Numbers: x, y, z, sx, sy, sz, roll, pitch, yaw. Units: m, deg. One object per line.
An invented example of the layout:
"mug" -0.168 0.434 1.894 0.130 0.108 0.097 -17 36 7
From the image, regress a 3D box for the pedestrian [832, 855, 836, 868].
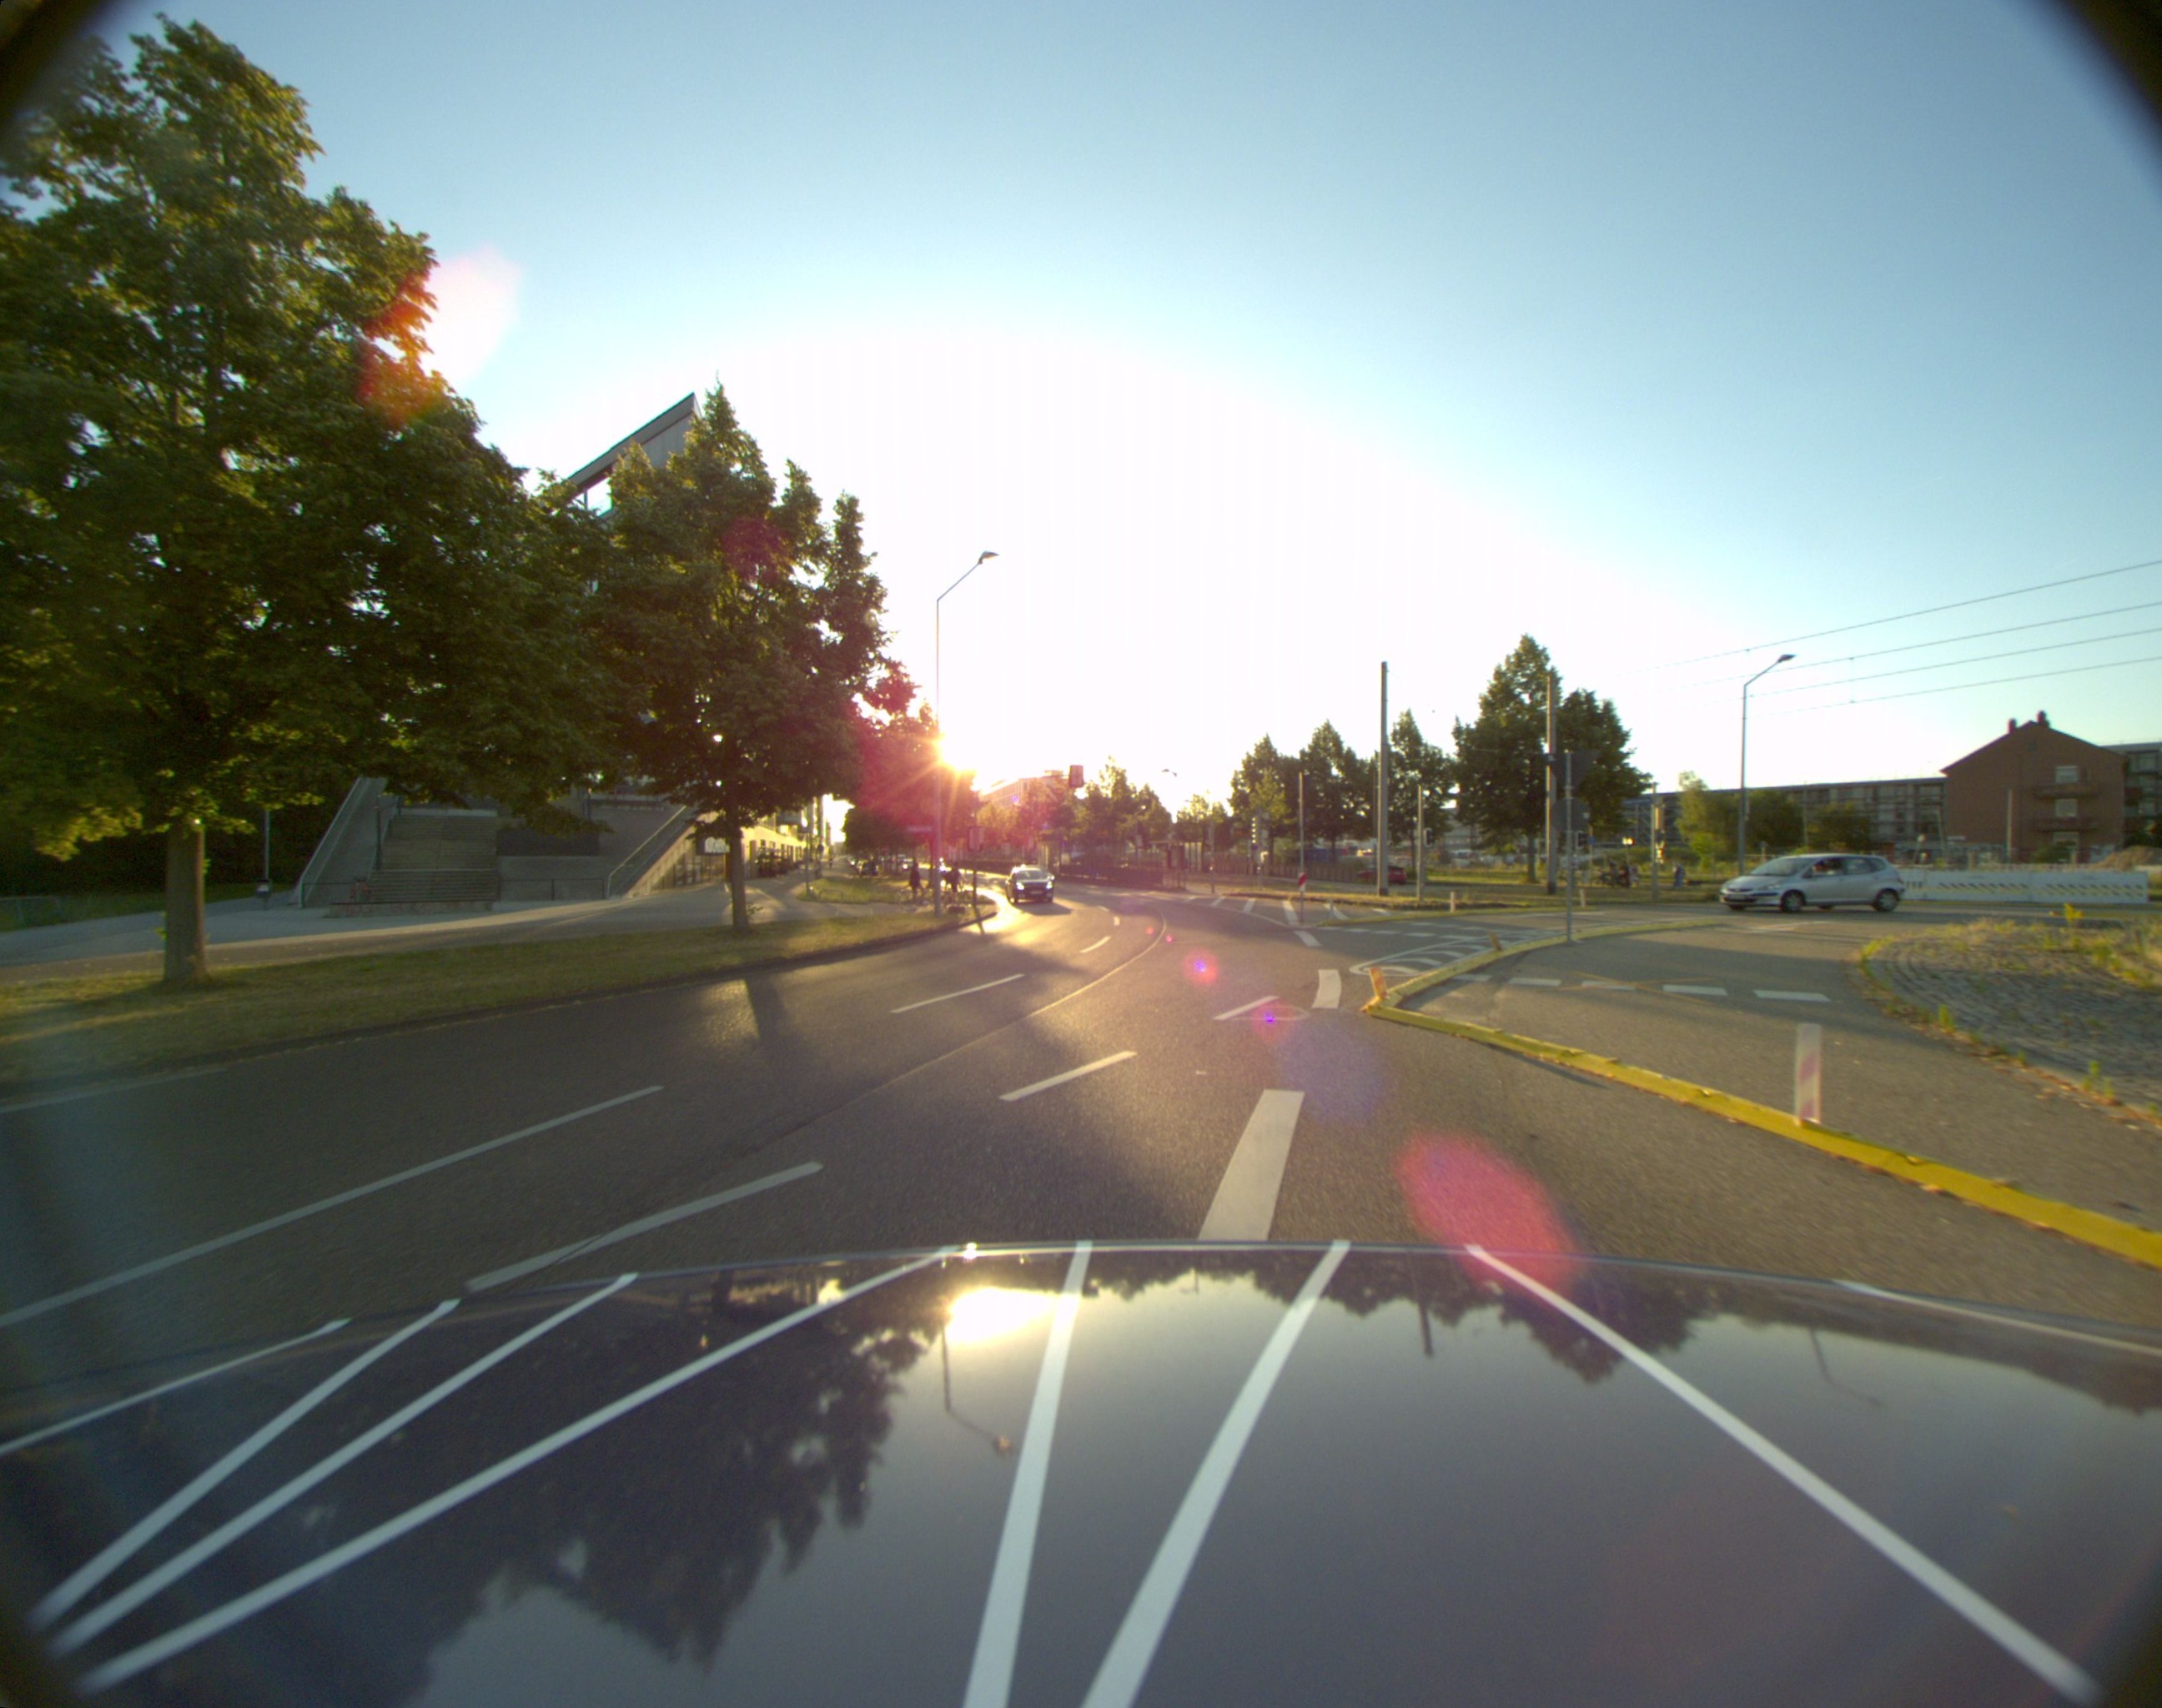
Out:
"pedestrian" -40.329 1.246 124.144 0.539 2.002 0.526 -1 0 -18

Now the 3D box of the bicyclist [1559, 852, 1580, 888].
"bicyclist" 26.514 0.875 41.248 0.678 1.907 0.614 -1 0 -14

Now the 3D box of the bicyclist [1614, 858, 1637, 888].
"bicyclist" 27.908 0.962 38.941 0.815 1.497 0.592 -1 0 -14

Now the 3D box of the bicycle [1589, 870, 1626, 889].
"bicycle" 27.689 1.350 39.964 1.844 0.975 0.549 -1 0 -14

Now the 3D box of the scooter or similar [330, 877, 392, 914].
"scooter or similar" -24.152 1.381 25.495 1.577 1.213 0.366 -1 0 -7

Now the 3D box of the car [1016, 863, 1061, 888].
"car" -2.718 1.314 47.873 1.804 1.414 4.442 -1 0 -17

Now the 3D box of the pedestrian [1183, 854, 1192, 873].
"pedestrian" 9.285 0.849 66.225 0.709 1.623 0.445 -1 0 -19

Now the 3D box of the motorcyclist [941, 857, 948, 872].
"motorcyclist" -12.677 0.993 70.510 0.636 1.408 0.714 -1 1 -8

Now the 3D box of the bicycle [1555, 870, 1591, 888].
"bicycle" 26.731 1.351 41.300 1.844 0.975 0.549 -1 0 -14

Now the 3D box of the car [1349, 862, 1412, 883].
"car" 19.672 1.184 50.065 1.835 1.324 3.995 -1 0 -15

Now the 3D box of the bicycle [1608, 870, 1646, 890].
"bicycle" 27.995 1.323 38.957 1.844 0.975 0.536 -1 0 -14

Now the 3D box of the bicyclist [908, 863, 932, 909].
"bicyclist" -5.832 1.157 27.518 0.685 1.638 0.682 -1 0 -27

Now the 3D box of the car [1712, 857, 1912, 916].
"car" 19.126 0.825 19.990 3.708 1.457 1.607 -1 0 0

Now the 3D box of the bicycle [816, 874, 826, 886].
"bicycle" -20.098 2.026 58.680 0.550 0.846 2.641 -1 0 -15

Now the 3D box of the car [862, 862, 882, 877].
"car" -21.406 1.558 77.886 1.804 1.455 3.994 -1 0 -17

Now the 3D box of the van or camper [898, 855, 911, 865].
"van or camper" -34.620 1.185 149.321 2.002 1.946 5.320 -1 1 -18

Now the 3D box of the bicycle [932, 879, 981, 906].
"bicycle" -4.879 1.505 29.815 1.863 1.016 0.437 -1 0 -10

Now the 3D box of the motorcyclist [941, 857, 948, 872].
"motorcyclist" -12.762 0.980 71.171 0.636 1.400 0.594 -1 1 -8

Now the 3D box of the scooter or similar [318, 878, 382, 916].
"scooter or similar" -24.105 1.404 25.068 1.577 1.213 0.366 -1 0 -7

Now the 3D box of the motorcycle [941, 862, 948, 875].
"motorcycle" -12.716 1.341 70.840 0.558 1.094 2.158 -2 1 -7

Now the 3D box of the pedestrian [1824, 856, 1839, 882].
"pedestrian" 38.795 0.769 39.269 0.502 1.358 0.435 0 1 42

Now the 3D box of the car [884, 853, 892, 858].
"car" -52.560 0.401 206.659 1.804 1.455 3.994 -1 0 -17

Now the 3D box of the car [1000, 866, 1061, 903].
"car" -2.320 1.307 33.773 1.804 1.455 3.994 -1 0 -17

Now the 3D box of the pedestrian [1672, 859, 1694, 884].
"pedestrian" 32.490 0.933 40.998 0.619 1.358 0.694 -1 0 -14

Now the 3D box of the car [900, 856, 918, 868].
"car" -22.675 1.037 100.011 1.894 1.472 4.044 -1 1 -17

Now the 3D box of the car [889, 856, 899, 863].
"car" -44.792 1.390 182.266 1.896 1.613 3.993 -1 0 -20

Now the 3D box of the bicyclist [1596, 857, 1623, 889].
"bicyclist" 27.726 0.982 39.889 0.815 1.630 0.814 -1 0 -14

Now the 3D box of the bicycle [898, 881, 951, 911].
"bicycle" -5.644 1.524 27.503 1.866 1.016 0.307 -1 0 -27

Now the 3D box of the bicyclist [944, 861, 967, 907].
"bicyclist" -4.911 1.144 29.597 0.849 1.745 0.803 -1 0 -11

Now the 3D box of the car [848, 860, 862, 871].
"car" -32.176 1.616 108.279 1.804 1.455 3.994 -1 0 -17
